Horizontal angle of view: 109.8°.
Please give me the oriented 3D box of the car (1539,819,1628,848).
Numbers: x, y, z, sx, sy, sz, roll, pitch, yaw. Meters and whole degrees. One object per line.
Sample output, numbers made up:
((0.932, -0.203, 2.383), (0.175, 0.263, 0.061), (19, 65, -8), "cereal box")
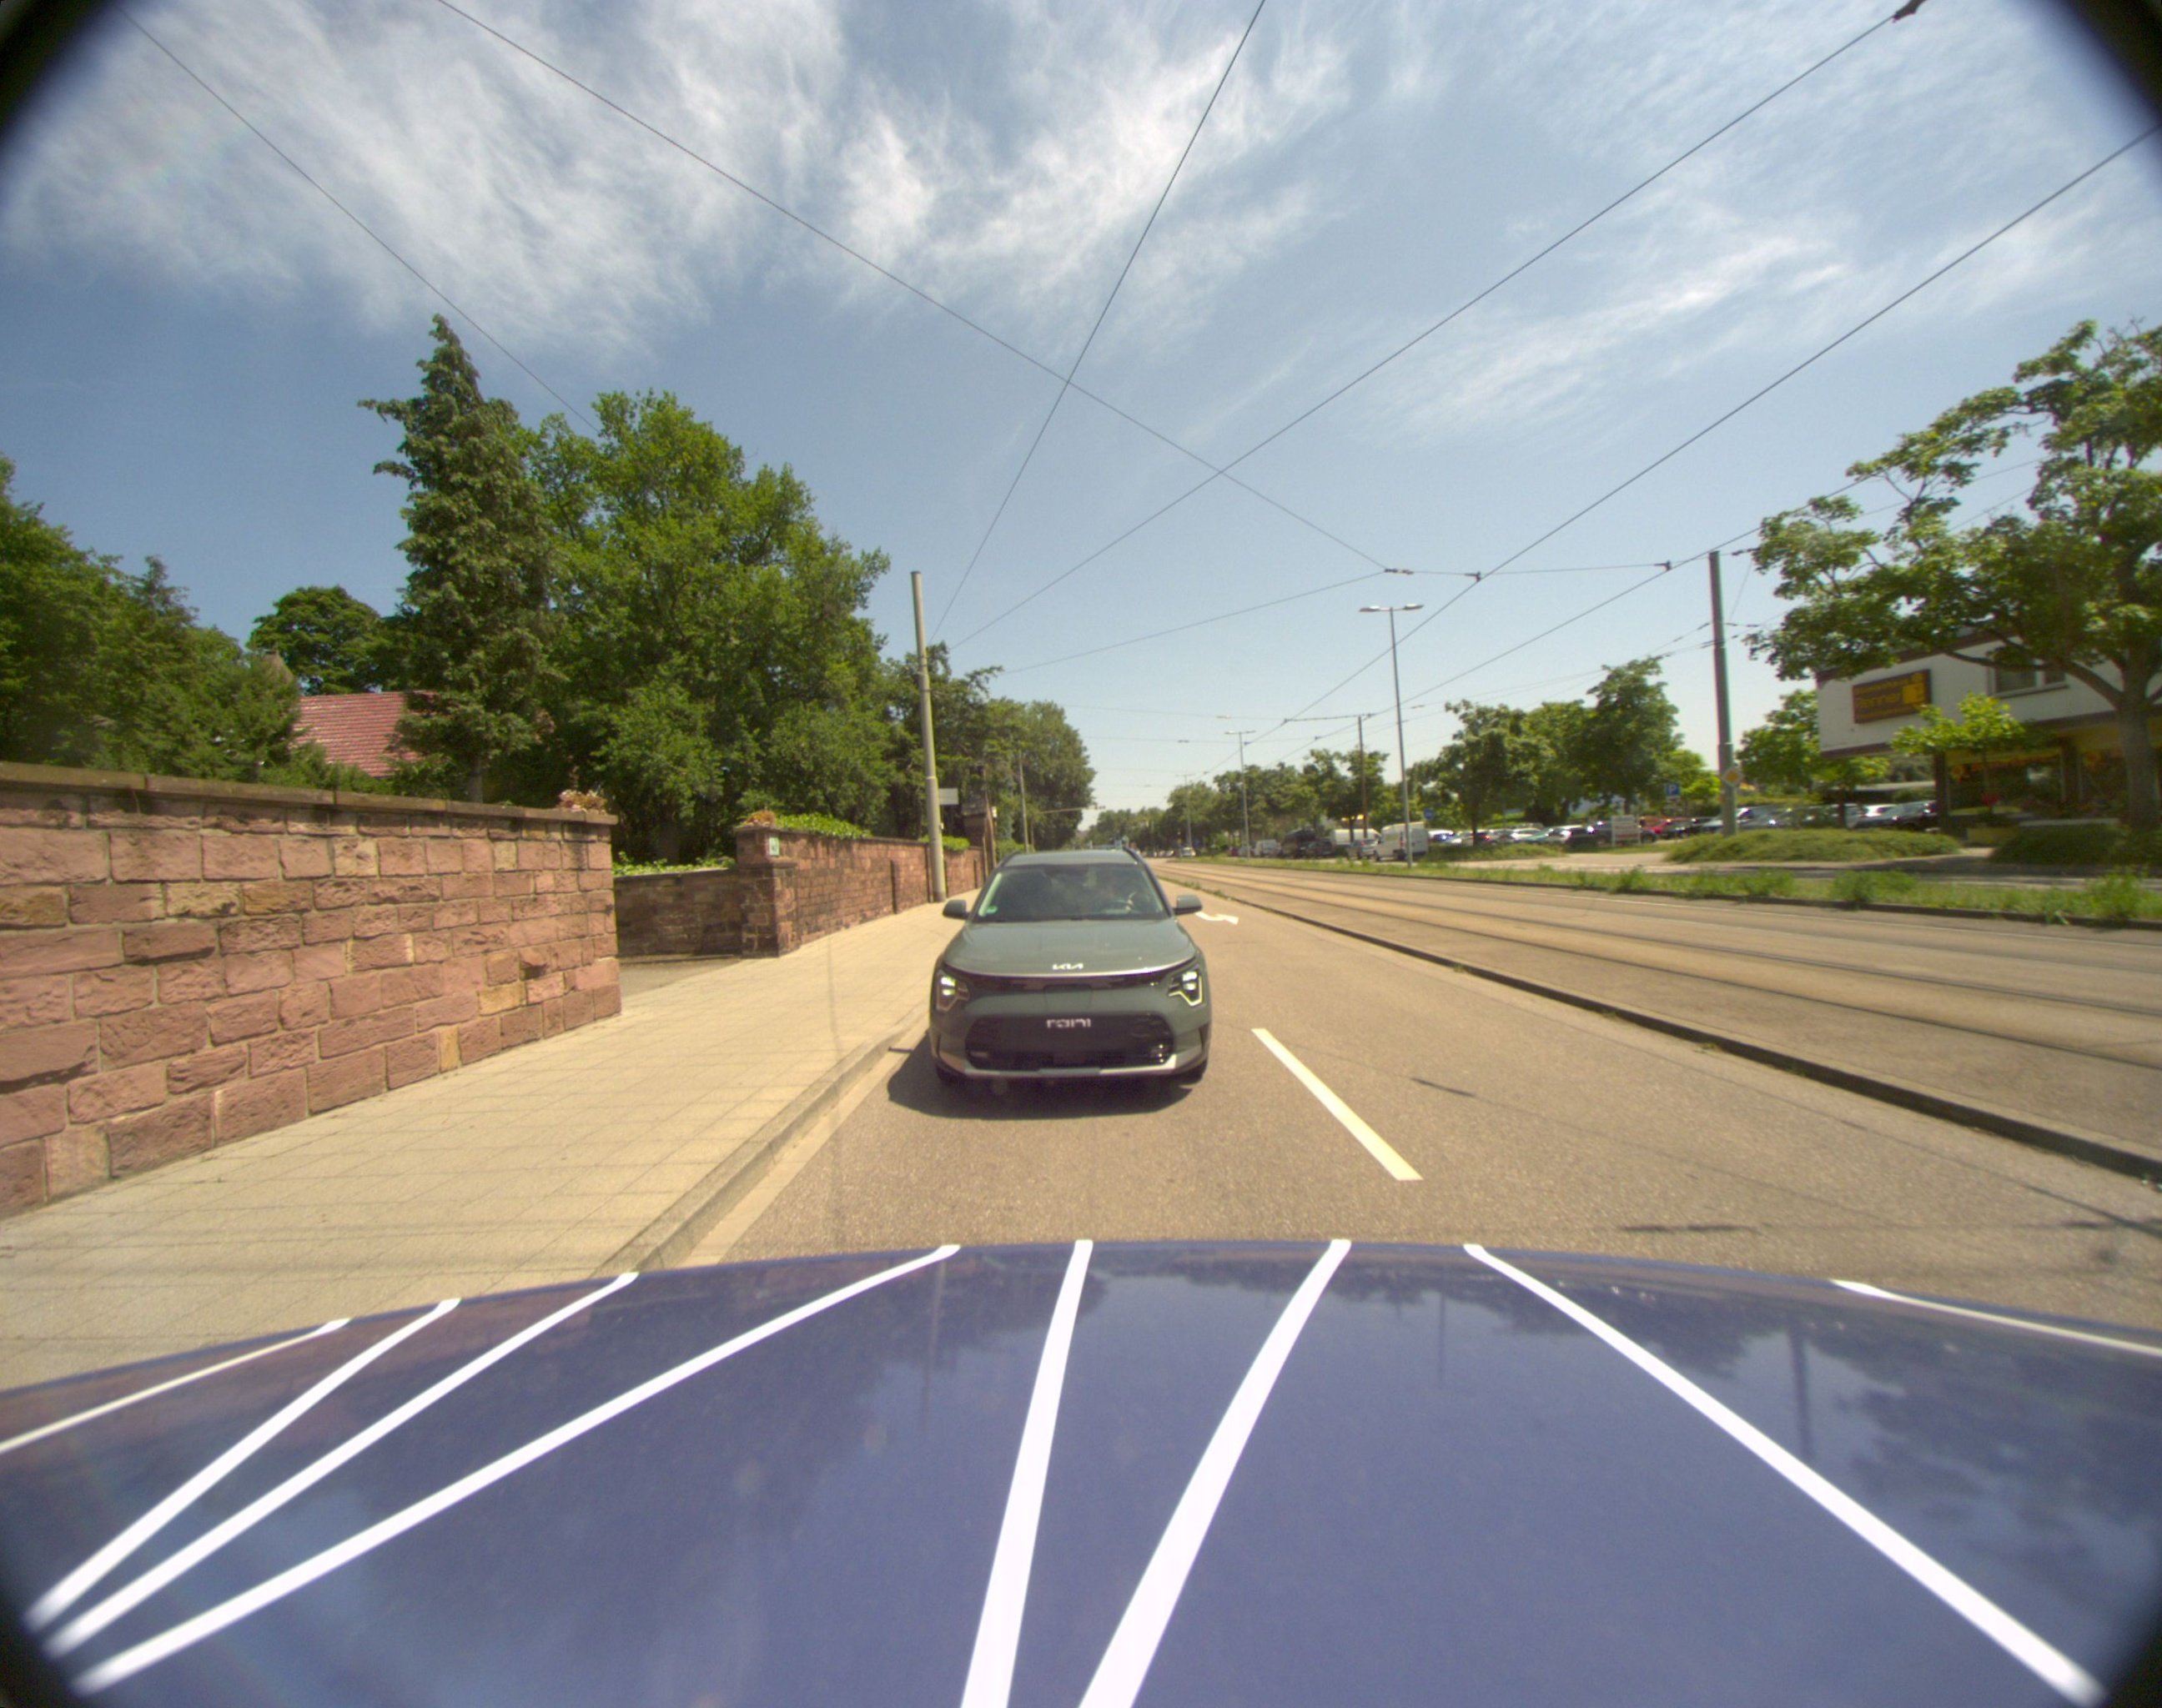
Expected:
((31.144, -1.250, 47.195), (4.172, 1.481, 1.984), (-3, 1, -1), "car")

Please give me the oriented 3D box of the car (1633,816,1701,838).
((44.243, -2.050, 57.399), (3.999, 1.486, 1.715), (-2, 1, -5), "car")

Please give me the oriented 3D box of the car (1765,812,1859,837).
((42.777, -1.730, 44.544), (3.724, 1.277, 1.764), (-2, 1, 3), "car")

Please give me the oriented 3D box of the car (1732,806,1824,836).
((43.286, -2.050, 47.241), (3.996, 1.647, 1.803), (-2, 1, 3), "car")

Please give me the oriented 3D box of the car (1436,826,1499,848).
((30.522, -1.312, 60.072), (3.999, 1.480, 1.866), (-3, 1, -6), "car")

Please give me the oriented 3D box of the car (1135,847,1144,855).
((15.952, -0.916, 206.746), (1.821, 1.979, 4.212), (-2, 1, -3), "car")

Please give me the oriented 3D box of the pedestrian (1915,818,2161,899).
((26.719, 0.087, 21.421), (1.998, 2.002, 3.999), (-2, 1, 0), "pedestrian")

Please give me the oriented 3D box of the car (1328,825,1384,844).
((30.633, -2.155, 84.654), (5.434, 1.945, 2.029), (-2, 1, 2), "car")

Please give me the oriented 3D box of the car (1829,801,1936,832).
((43.924, -2.047, 41.678), (3.996, 1.511, 1.661), (-2, 1, 3), "car")

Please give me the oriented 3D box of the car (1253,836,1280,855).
((20.569, -0.966, 84.300), (1.924, 1.937, 4.816), (-2, 1, 2), "car")

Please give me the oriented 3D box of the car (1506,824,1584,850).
((30.423, -1.113, 49.880), (4.040, 1.481, 1.911), (-2, 1, -6), "car")

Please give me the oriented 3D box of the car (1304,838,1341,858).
((20.326, -0.559, 64.038), (1.976, 1.568, 3.751), (-2, 1, 1), "car")

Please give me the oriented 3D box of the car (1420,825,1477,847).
((31.626, -1.534, 65.487), (3.998, 1.708, 1.797), (-3, 1, -3), "car")

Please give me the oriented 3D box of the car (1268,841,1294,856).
((20.595, -0.611, 78.454), (1.767, 1.456, 3.608), (-2, 1, 2), "car")

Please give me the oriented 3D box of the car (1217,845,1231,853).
((21.311, -0.779, 113.120), (1.582, 1.152, 3.423), (-2, 1, 2), "car")

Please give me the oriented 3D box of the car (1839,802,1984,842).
((34.073, -1.293, 31.253), (3.996, 1.289, 1.682), (-4, 0, 2), "car")

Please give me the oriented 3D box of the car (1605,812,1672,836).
((43.743, -2.378, 59.676), (4.129, 1.643, 1.692), (-3, 1, -5), "car")

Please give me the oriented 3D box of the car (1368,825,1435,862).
((20.076, -0.675, 47.830), (1.880, 1.999, 5.343), (-6, 1, 1), "car")

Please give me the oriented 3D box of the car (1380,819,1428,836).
((44.496, -3.648, 104.696), (5.744, 2.051, 2.147), (-2, 1, -2), "car")

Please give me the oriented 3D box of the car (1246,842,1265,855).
((20.606, -0.683, 89.843), (1.429, 1.470, 3.262), (-2, 1, 1), "car")

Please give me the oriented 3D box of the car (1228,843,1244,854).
((20.606, -0.754, 101.090), (1.582, 1.472, 3.423), (-2, 1, 2), "car")

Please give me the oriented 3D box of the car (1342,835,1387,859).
((20.210, -0.496, 54.345), (1.654, 1.494, 4.125), (-6, 1, 1), "car")

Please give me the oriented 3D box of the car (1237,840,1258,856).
((20.697, -0.730, 94.542), (1.635, 1.882, 4.496), (-2, 1, 1), "car")

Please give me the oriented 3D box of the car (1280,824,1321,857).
((20.246, -1.250, 70.392), (2.244, 2.822, 5.667), (-2, 1, 1), "car")

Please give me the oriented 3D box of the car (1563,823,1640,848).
((30.550, -1.063, 44.628), (3.423, 1.225, 1.643), (-3, 1, -6), "car")

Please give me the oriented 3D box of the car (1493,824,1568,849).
((30.946, -1.203, 52.336), (4.146, 1.481, 1.859), (-2, 1, -6), "car")

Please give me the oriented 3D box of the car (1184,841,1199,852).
((16.544, -1.106, 114.064), (1.728, 1.601, 4.569), (-2, 1, 2), "car")

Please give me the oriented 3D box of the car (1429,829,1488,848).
((31.179, -1.271, 62.834), (3.998, 1.398, 1.797), (-2, 0, -3), "car")

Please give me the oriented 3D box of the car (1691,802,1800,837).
((43.375, -2.217, 49.661), (5.120, 2.058, 2.226), (-2, 1, 1), "car")

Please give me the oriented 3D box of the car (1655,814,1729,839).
((43.884, -1.970, 54.633), (3.997, 1.576, 1.684), (-2, 1, -1), "car")

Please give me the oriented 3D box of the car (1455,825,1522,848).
((30.870, -1.293, 57.578), (4.075, 1.481, 1.831), (-3, 1, -6), "car")

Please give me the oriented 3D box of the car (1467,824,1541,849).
((30.438, -1.237, 54.747), (4.163, 1.481, 2.022), (-3, 1, -6), "car")

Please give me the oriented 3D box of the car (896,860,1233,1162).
((-0.100, 0.887, 6.351), (1.824, 1.577, 4.287), (-2, 0, 0), "car")
